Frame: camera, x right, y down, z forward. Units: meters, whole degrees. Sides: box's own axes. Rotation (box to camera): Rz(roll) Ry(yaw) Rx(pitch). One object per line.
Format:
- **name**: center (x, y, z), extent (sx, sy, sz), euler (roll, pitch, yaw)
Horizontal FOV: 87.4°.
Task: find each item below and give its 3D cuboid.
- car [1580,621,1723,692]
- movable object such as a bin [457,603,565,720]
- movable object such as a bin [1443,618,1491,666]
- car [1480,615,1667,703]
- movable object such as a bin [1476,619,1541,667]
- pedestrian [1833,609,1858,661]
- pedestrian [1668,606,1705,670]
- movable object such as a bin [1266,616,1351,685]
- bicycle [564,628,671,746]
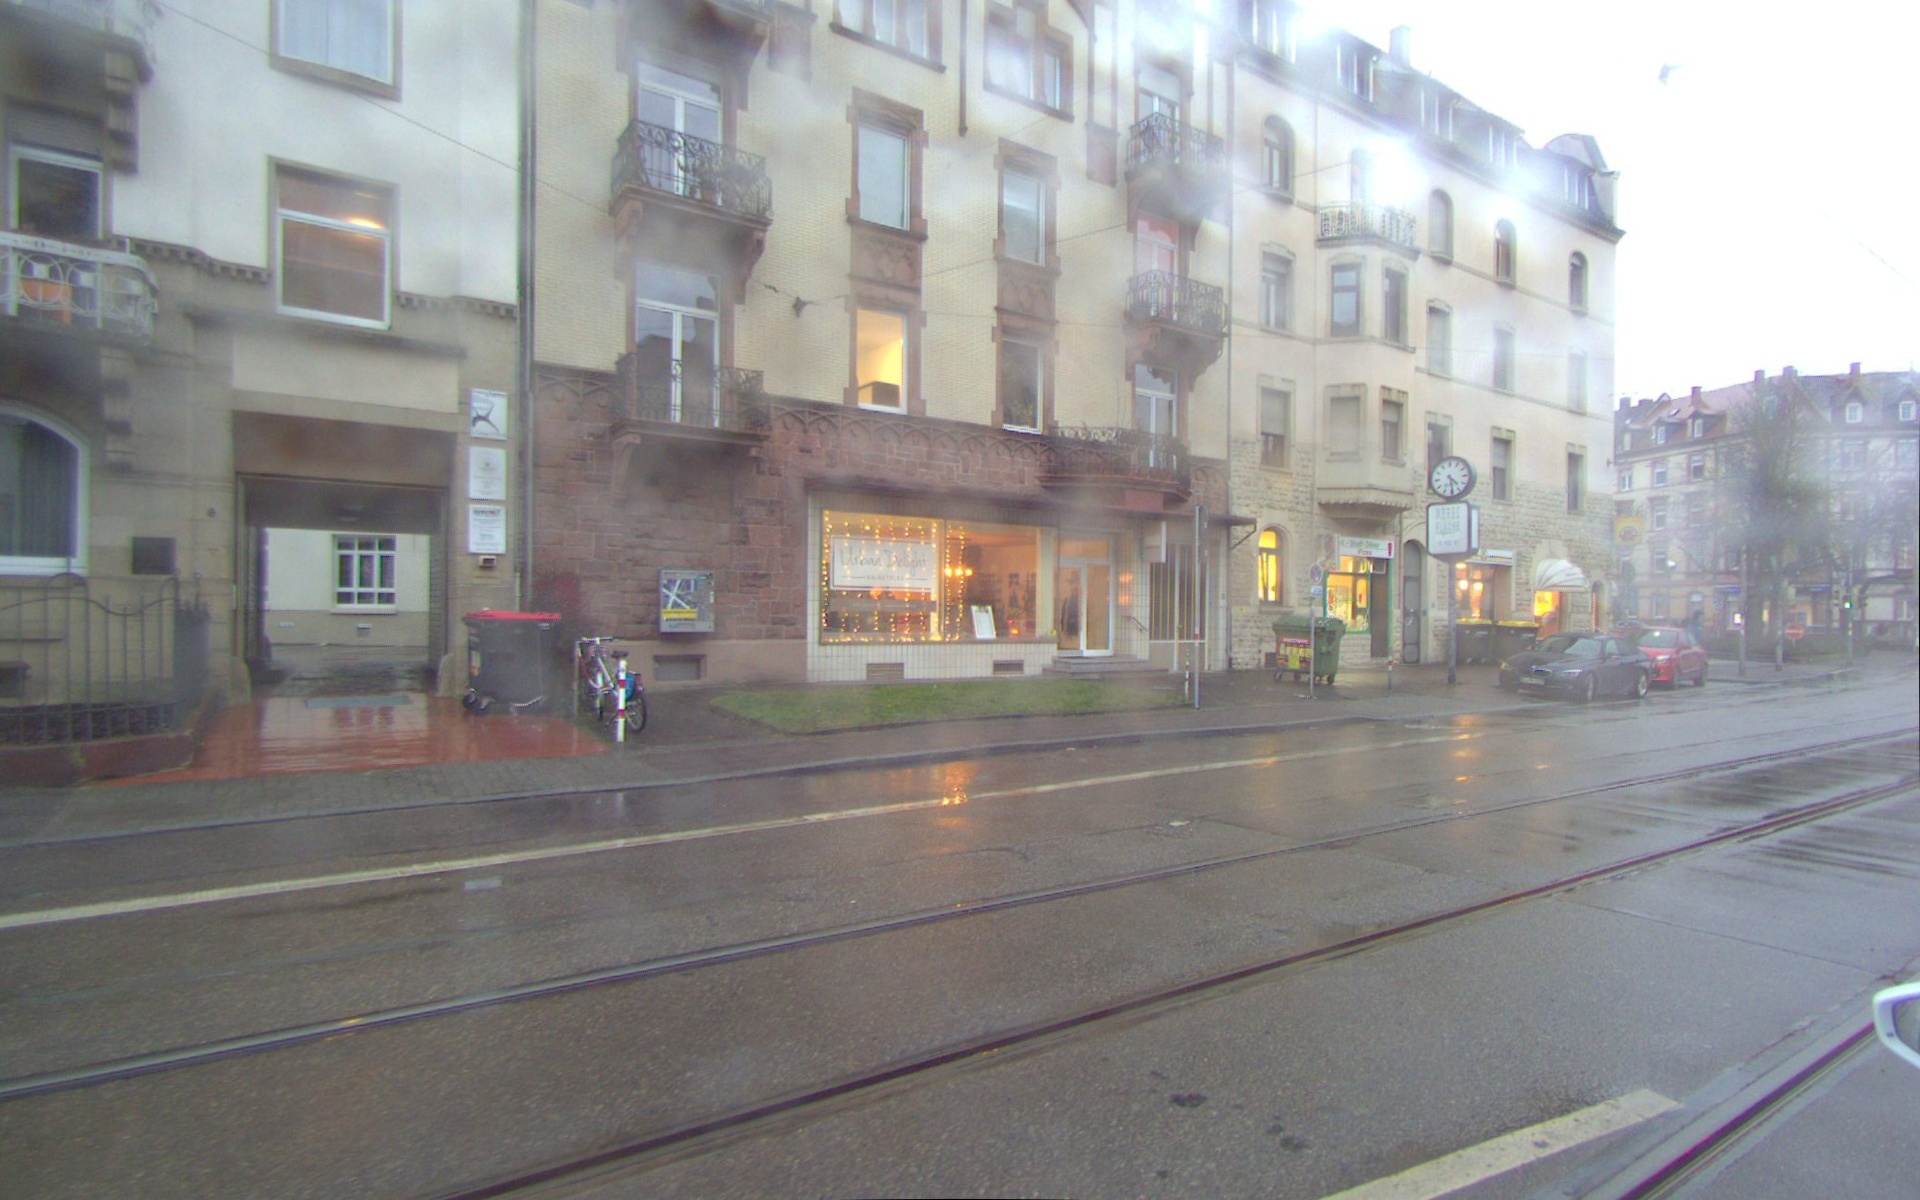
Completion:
- **car**: center (18.524, 1.430, 26.857), extent (3.997, 1.573, 2.021), euler (0, 3, -39)
- **movable object such as a bin**: center (-5.934, 0.775, 13.250), extent (1.155, 1.398, 1.096), euler (1, 2, -32)
- **movable object such as a bin**: center (15.147, 1.251, 30.012), extent (0.996, 1.396, 0.893), euler (1, 0, -33)
- **car**: center (14.082, 1.305, 22.981), extent (4.587, 1.667, 1.972), euler (2, 3, -36)
- **movable object such as a bin**: center (16.501, 1.272, 30.242), extent (1.239, 1.385, 1.286), euler (1, 0, -34)
- **pedestrian**: center (35.761, 1.406, 40.573), extent (0.695, 2.040, 0.658), euler (0, 0, 37)
- **pedestrian**: center (23.655, 1.236, 32.703), extent (0.635, 2.040, 0.758), euler (1, 0, 3)
- **movable object such as a bin**: center (7.614, 1.084, 21.979), extent (1.236, 1.439, 1.260), euler (1, 0, -33)
- **bicycle**: center (-4.092, 0.962, 11.872), extent (0.687, 1.120, 2.336), euler (1, 1, -32)
